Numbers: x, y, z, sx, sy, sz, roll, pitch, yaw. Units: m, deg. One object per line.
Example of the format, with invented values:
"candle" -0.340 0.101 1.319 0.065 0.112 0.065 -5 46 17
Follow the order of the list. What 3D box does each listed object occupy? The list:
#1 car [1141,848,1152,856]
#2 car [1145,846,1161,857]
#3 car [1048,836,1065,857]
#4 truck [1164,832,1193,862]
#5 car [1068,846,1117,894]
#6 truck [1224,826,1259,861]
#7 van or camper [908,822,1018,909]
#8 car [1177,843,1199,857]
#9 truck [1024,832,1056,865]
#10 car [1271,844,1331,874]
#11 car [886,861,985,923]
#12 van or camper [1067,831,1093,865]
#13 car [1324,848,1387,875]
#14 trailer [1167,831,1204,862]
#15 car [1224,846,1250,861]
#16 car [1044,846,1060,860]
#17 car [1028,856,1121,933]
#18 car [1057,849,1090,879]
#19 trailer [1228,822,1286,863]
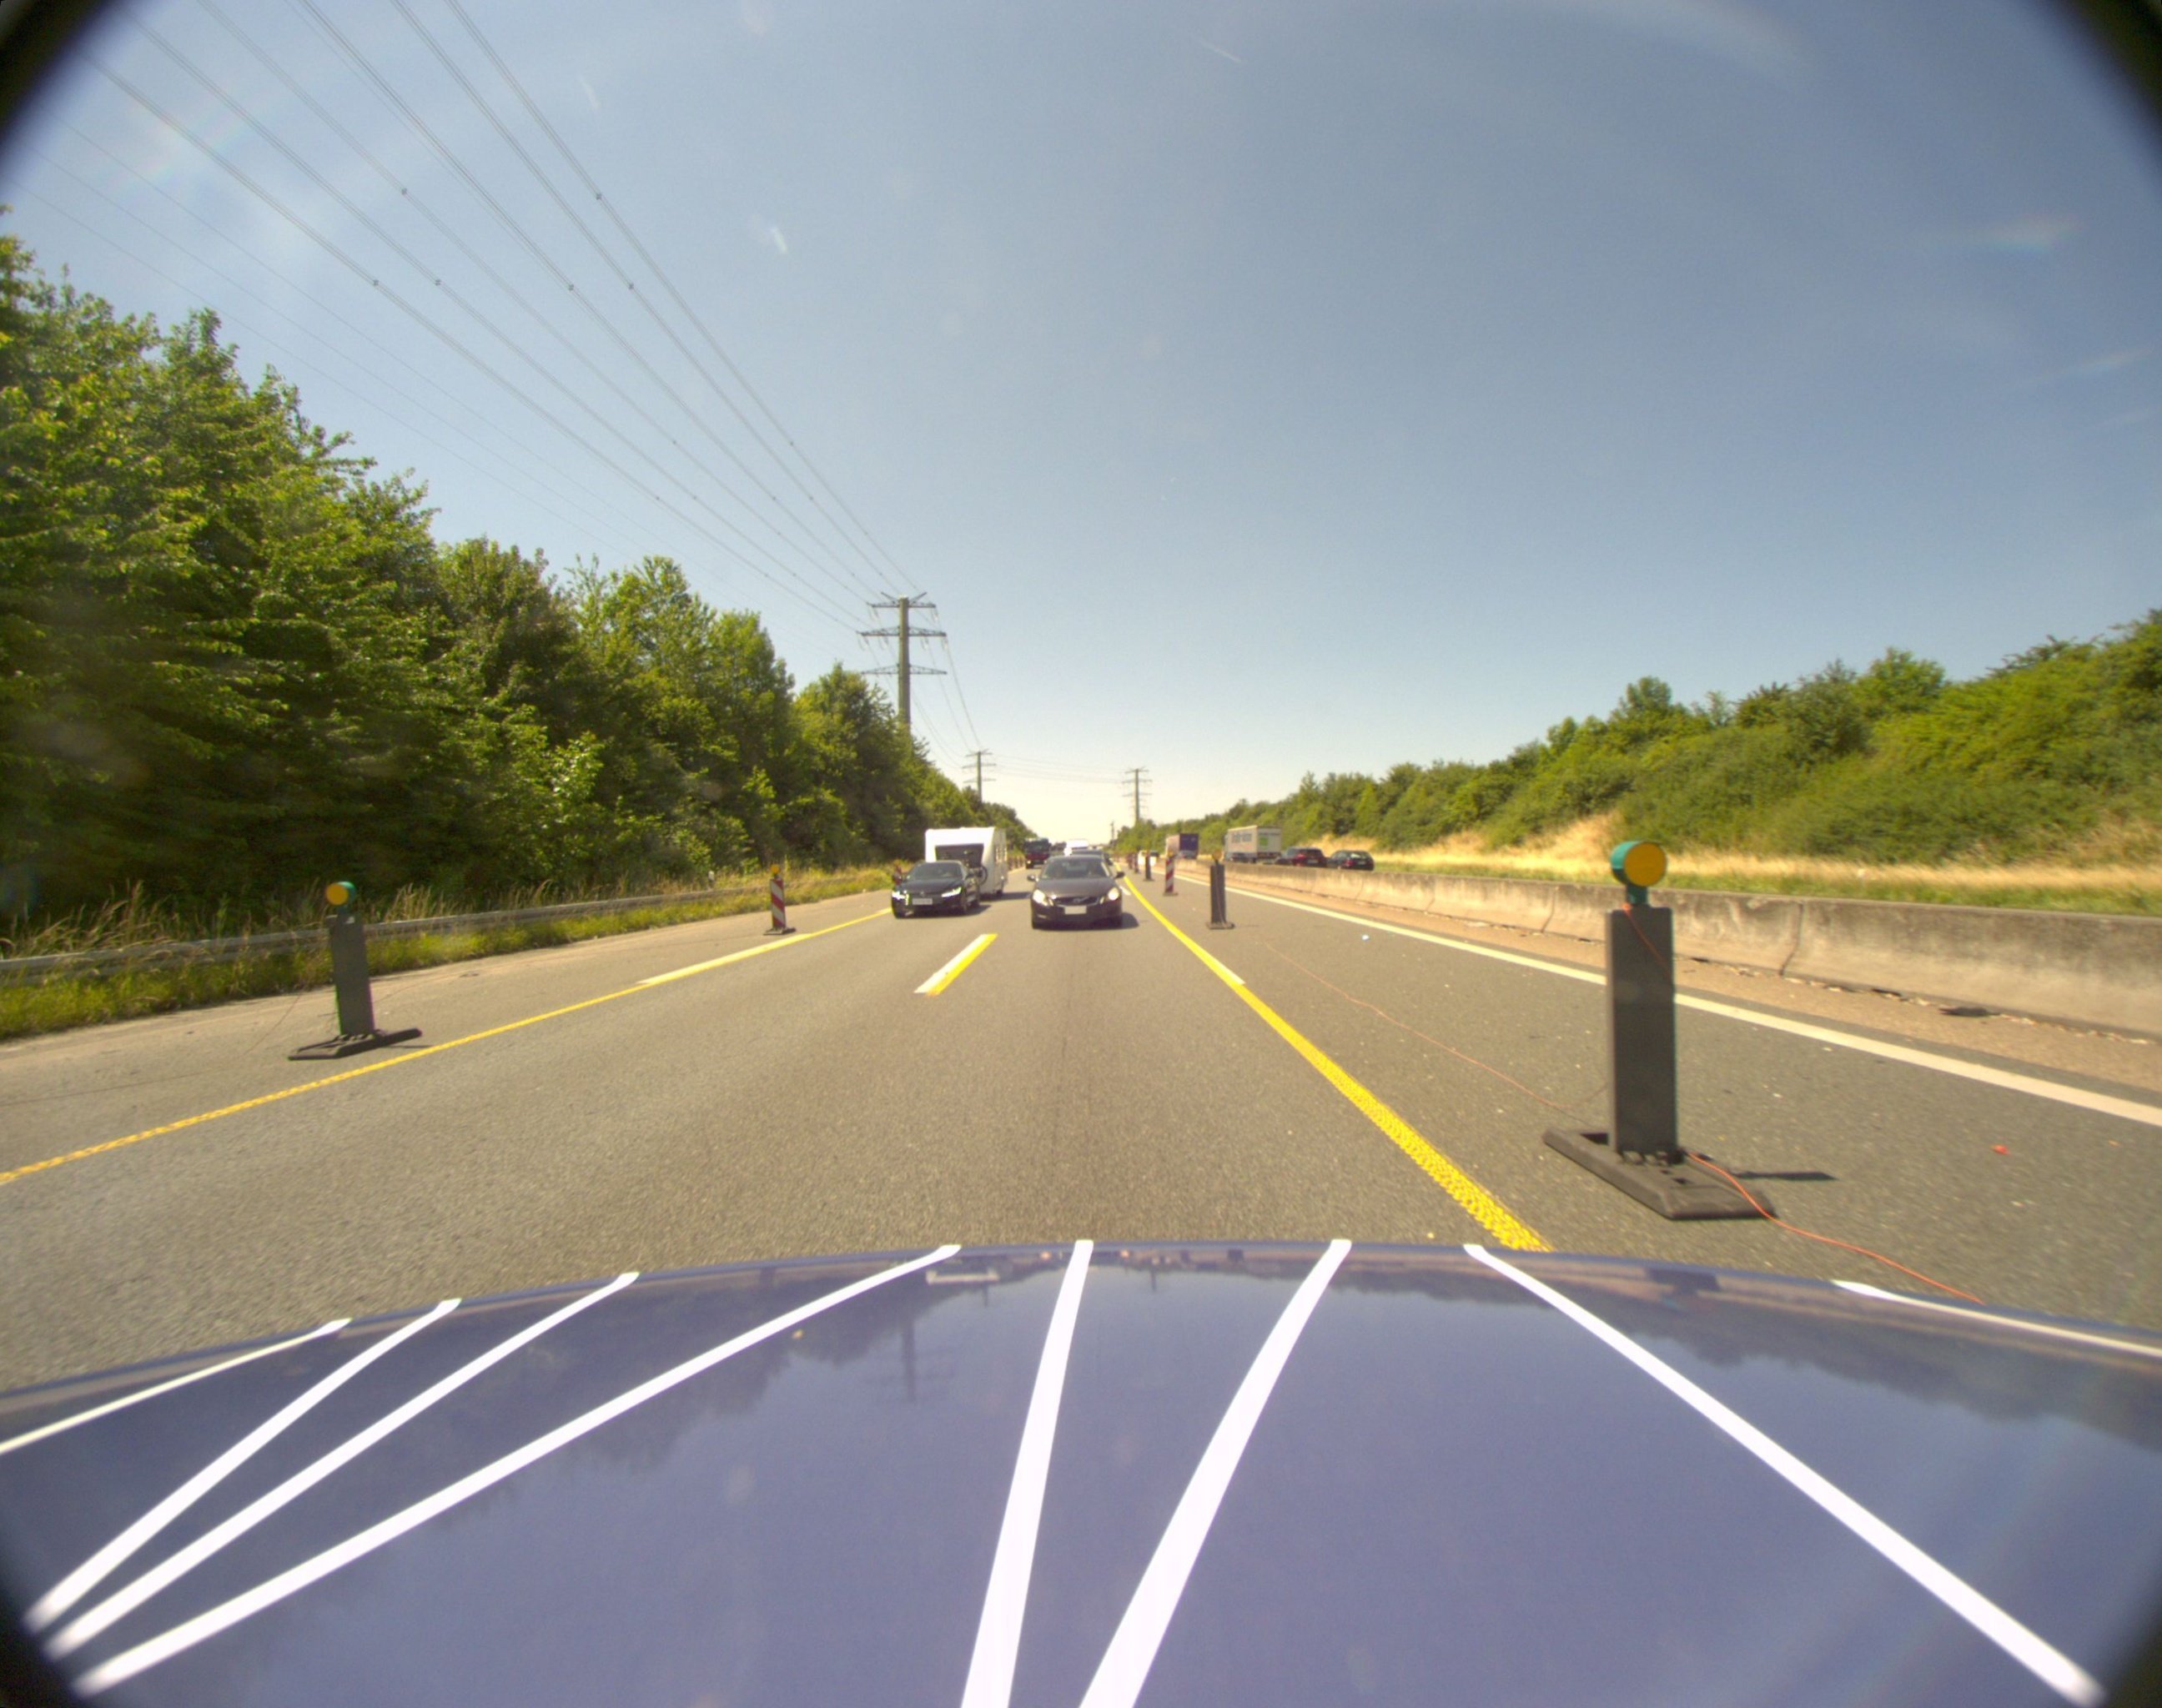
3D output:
"car" 14.150 -0.446 164.056 1.871 1.782 5.454 -1 1 1
"car" 10.680 -0.380 112.773 1.846 1.705 4.395 -1 1 0
"car" -4.506 -1.388 140.634 2.397 3.779 10.272 -3 1 1
"truck" 14.574 -1.063 113.667 3.172 4.200 7.413 -1 1 -1
"car" 0.512 0.565 29.805 1.675 1.619 4.691 -3 0 2
"truck" 18.944 -1.223 90.117 2.953 4.053 5.195 0 1 -1
"van or camper" -3.920 0.319 27.169 2.432 2.549 8.416 -2 1 0
"car" 11.142 -0.424 79.171 1.620 1.434 3.989 -1 1 -1
"truck" -4.177 -0.559 79.556 2.431 3.122 7.648 -4 0 2
"car" 11.410 0.224 39.701 1.853 1.452 4.488 -1 1 0
"car" -3.856 0.954 20.846 1.800 1.399 4.209 -2 1 0
"van or camper" -0.032 -0.478 62.102 1.998 2.604 5.629 0 1 2
"car" 16.062 0.414 44.719 1.999 1.452 4.586 -1 1 -1
"trailer" 14.692 -1.047 107.744 3.168 4.156 13.681 -1 1 -1
"car" 15.110 -0.057 73.718 1.507 1.388 4.088 -1 1 -2
"car" -3.995 -0.135 104.923 1.850 1.810 3.925 -3 1 1
"car" -0.105 0.807 17.062 1.798 1.433 4.000 -2 0 1
"car" -0.424 0.555 46.073 1.744 1.659 4.157 -2 0 2
"trailer" 19.029 -1.192 83.222 2.961 4.038 13.635 1 1 -1
